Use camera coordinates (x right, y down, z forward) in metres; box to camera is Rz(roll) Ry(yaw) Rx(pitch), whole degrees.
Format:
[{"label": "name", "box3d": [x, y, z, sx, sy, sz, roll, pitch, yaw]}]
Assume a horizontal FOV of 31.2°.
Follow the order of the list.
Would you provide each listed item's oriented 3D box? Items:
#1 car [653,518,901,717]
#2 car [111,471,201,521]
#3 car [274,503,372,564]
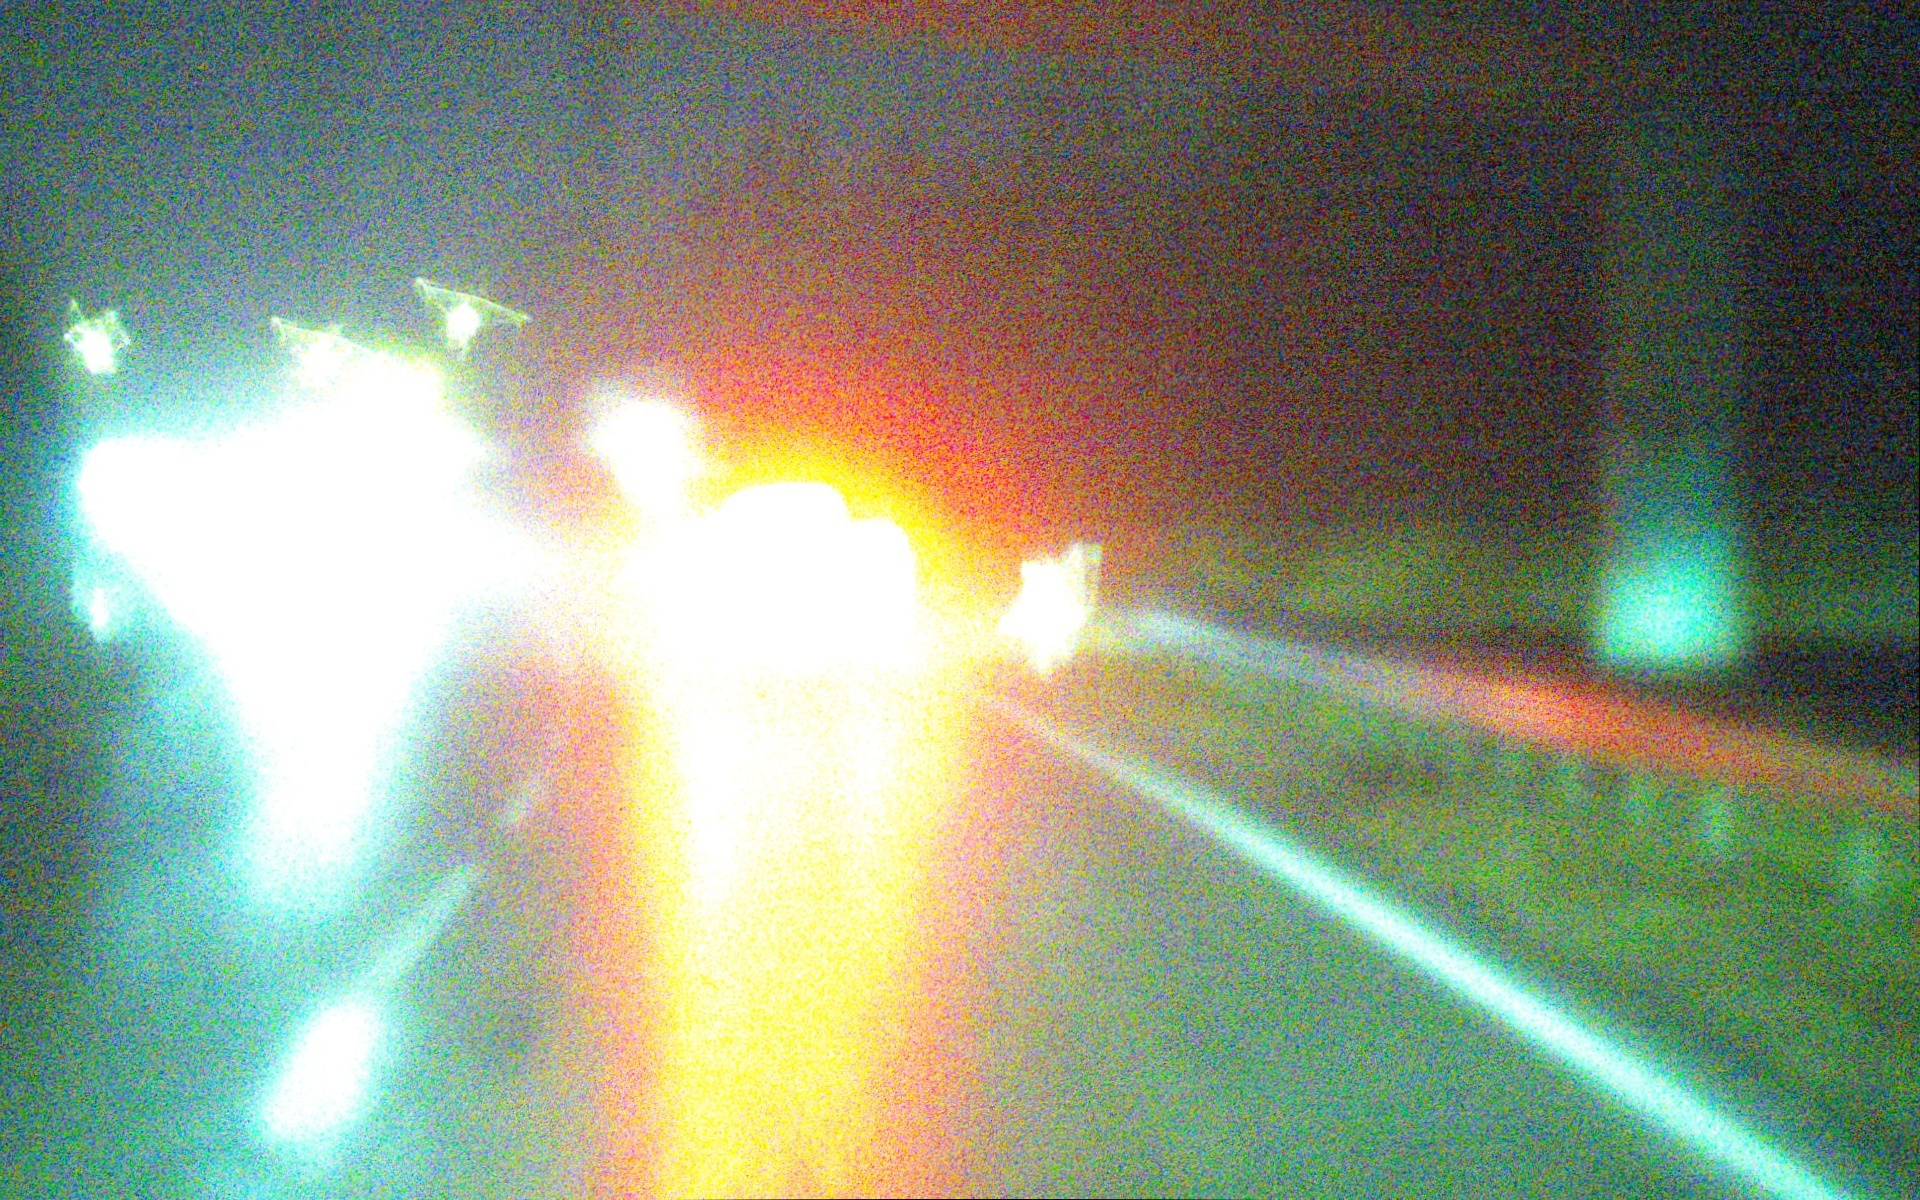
[{"label": "car", "box3d": [-1.780, 0.095, 31.836, 1.993, 1.622, 4.986, 0, 2, -6]}, {"label": "car", "box3d": [-29.082, -3.759, 124.249, 1.993, 1.702, 4.985, -3, 2, -27]}, {"label": "car", "box3d": [-17.621, -1.839, 94.904, 1.930, 1.579, 4.986, -2, 2, -18]}]
